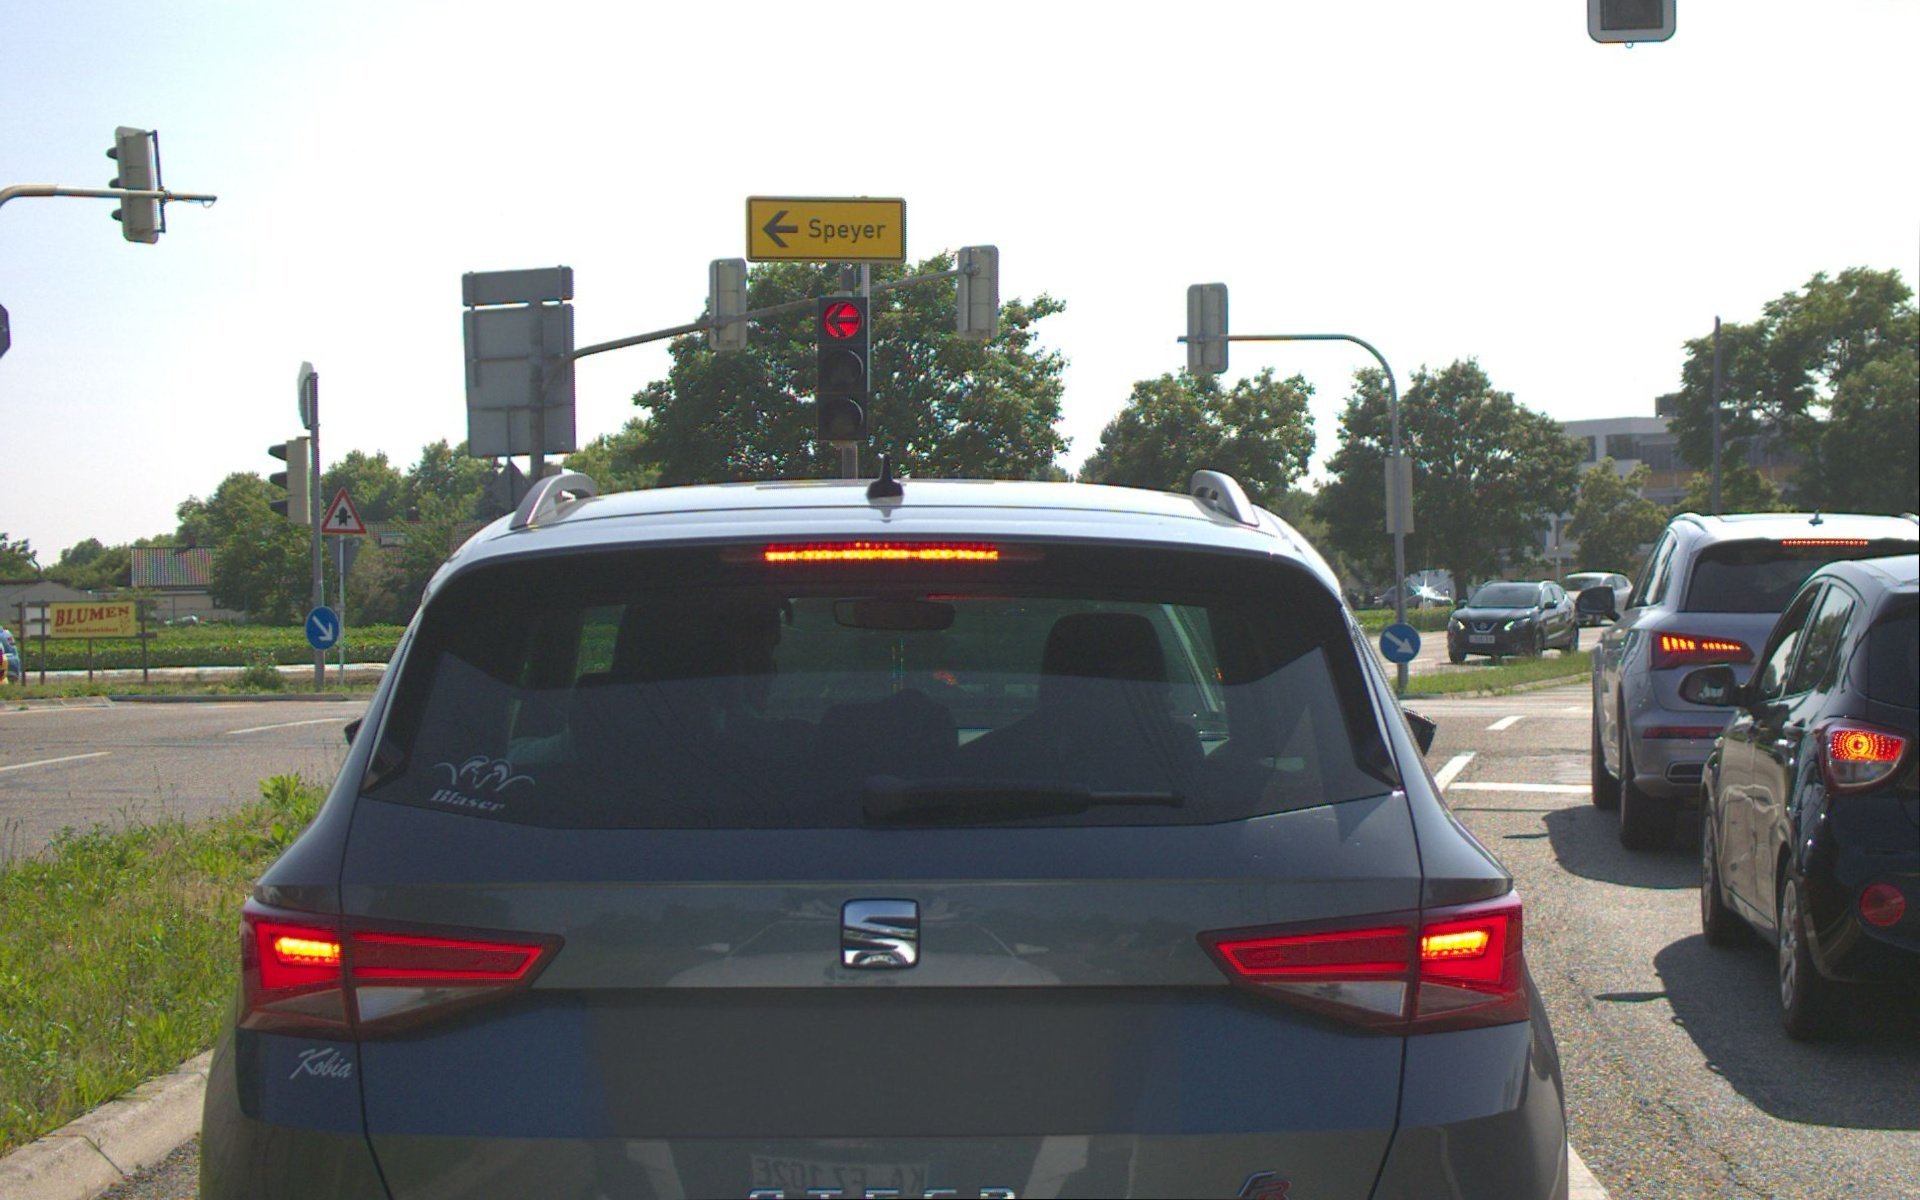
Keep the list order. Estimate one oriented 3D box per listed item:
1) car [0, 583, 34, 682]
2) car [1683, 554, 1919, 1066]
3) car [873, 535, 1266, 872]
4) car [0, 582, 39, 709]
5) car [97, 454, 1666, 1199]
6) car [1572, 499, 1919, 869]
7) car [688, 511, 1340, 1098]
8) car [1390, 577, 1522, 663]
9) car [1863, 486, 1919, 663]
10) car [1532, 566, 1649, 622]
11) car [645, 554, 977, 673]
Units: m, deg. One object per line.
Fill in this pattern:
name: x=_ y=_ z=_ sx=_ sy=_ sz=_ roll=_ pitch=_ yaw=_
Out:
car: x=-16.495 y=0.512 z=53.218 sx=3.872 sy=1.514 sz=1.805 roll=0 pitch=1 yaw=24
car: x=3.387 y=0.582 z=11.336 sx=1.633 sy=1.443 sz=3.294 roll=1 pitch=1 yaw=6
car: x=0.641 y=0.449 z=17.268 sx=1.742 sy=1.479 sz=3.623 roll=1 pitch=0 yaw=5
car: x=-14.372 y=0.608 z=45.558 sx=3.993 sy=1.645 sz=1.817 roll=0 pitch=0 yaw=28
car: x=-0.113 y=0.618 z=5.661 sx=1.742 sy=1.563 sz=3.624 roll=1 pitch=0 yaw=-1
car: x=4.087 y=0.363 z=17.564 sx=1.633 sy=1.671 sz=3.749 roll=1 pitch=1 yaw=6
car: x=0.156 y=0.540 z=11.147 sx=1.742 sy=1.563 sz=3.624 roll=1 pitch=0 yaw=0
car: x=10.108 y=0.387 z=69.863 sx=1.879 sy=1.667 sz=3.766 roll=1 pitch=1 yaw=20
car: x=12.205 y=-0.296 z=38.008 sx=4.014 sy=1.946 sz=1.693 roll=0 pitch=0 yaw=28
car: x=17.400 y=-0.167 z=94.805 sx=1.721 sy=1.492 sz=3.762 roll=2 pitch=1 yaw=35
car: x=-1.984 y=0.175 z=45.769 sx=4.029 sy=1.514 sz=1.805 roll=0 pitch=1 yaw=26
